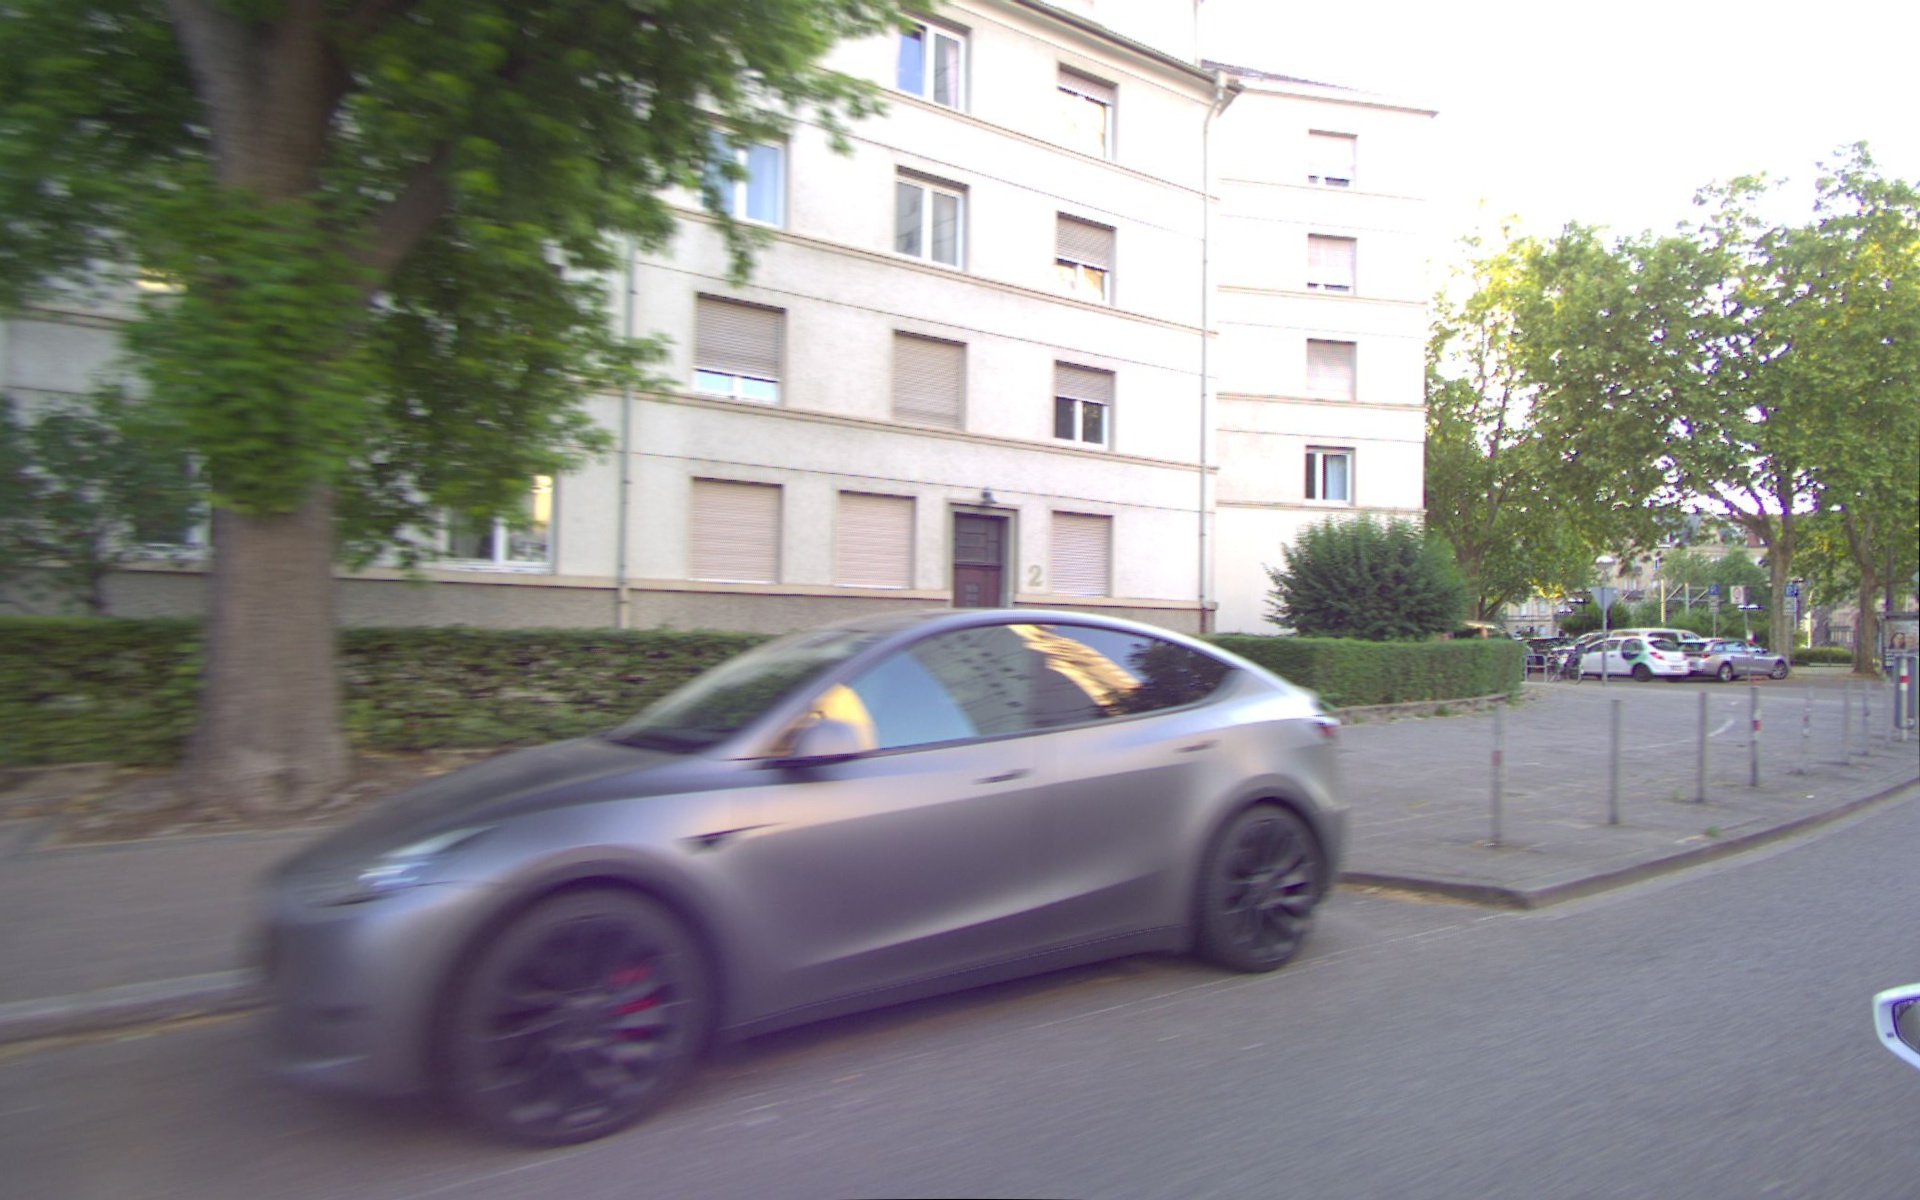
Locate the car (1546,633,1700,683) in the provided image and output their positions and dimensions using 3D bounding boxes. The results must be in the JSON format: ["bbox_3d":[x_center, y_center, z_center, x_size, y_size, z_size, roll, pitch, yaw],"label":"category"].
[{"bbox_3d":[22.328,1.934,34.010,1.970,1.539,3.981,1,-2,-21],"label":"car"}]

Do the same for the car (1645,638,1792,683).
[{"bbox_3d":[26.597,2.079,35.238,4.557,1.501,1.818,1,-1,-17],"label":"car"}]

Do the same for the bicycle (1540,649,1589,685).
[{"bbox_3d":[18.875,2.070,31.392,0.470,1.056,1.825,1,-2,2],"label":"bicycle"}]

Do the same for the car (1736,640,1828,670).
[{"bbox_3d":[52.488,3.503,64.171,4.546,1.865,2.082,0,-1,-9],"label":"car"}]

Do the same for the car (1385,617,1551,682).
[{"bbox_3d":[17.180,1.672,34.058,4.760,1.999,1.997,2,-2,-10],"label":"car"}]

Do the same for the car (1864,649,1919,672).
[{"bbox_3d":[68.751,4.412,72.672,1.967,1.550,4.628,1,-2,-16],"label":"car"}]

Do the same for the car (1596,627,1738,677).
[{"bbox_3d":[27.034,1.969,38.457,4.549,1.824,1.821,0,-1,-12],"label":"car"}]

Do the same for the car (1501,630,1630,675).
[{"bbox_3d":[25.897,2.206,43.023,4.549,1.865,2.081,0,-1,-11],"label":"car"}]

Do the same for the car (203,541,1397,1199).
[{"bbox_3d":[-0.357,0.793,4.462,4.553,1.637,1.944,2,-4,-31],"label":"car"}]

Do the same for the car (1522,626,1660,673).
[{"bbox_3d":[25.463,1.973,40.616,4.549,1.865,2.081,0,-1,-11],"label":"car"}]

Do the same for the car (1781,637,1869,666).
[{"bbox_3d":[58.608,3.467,68.101,4.546,1.865,2.082,0,-1,-9],"label":"car"}]
